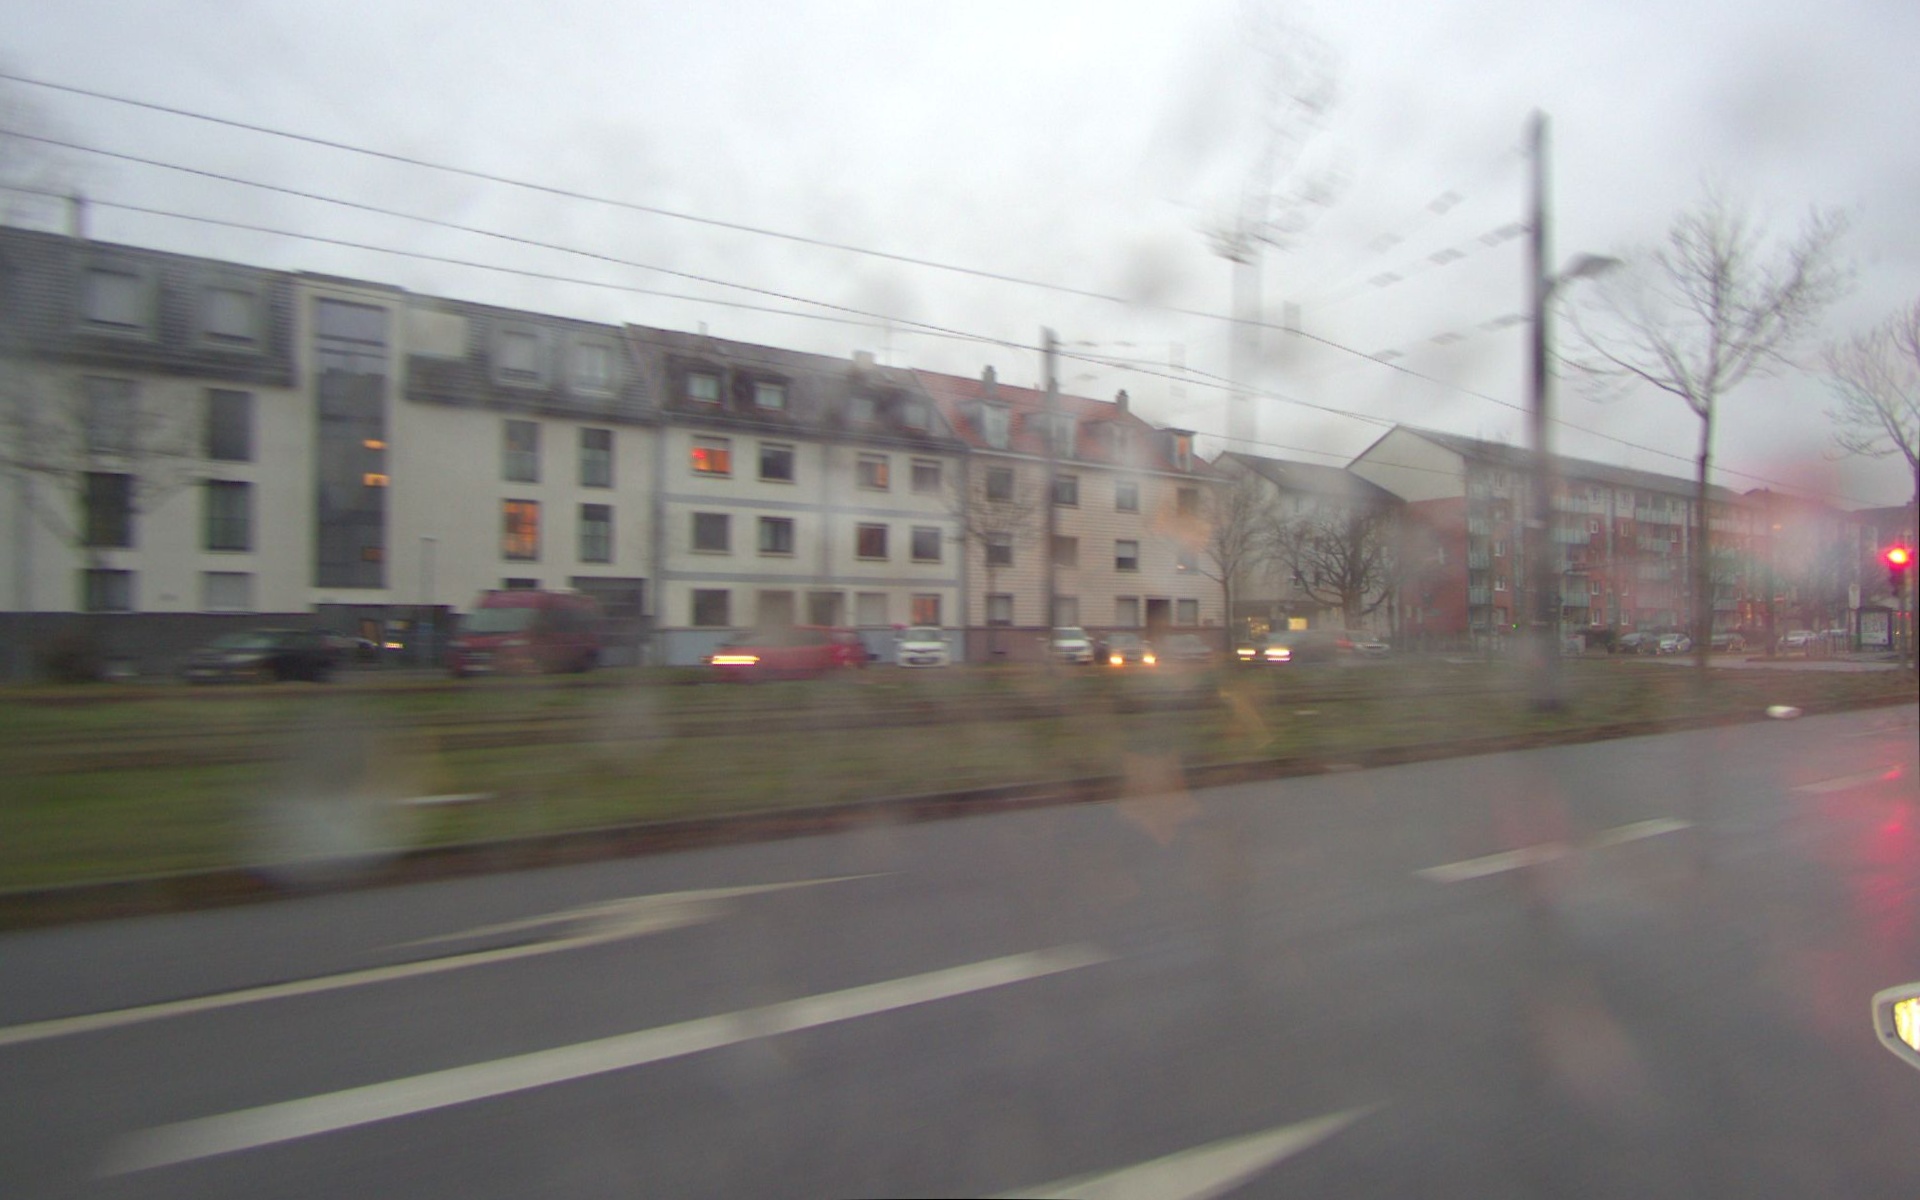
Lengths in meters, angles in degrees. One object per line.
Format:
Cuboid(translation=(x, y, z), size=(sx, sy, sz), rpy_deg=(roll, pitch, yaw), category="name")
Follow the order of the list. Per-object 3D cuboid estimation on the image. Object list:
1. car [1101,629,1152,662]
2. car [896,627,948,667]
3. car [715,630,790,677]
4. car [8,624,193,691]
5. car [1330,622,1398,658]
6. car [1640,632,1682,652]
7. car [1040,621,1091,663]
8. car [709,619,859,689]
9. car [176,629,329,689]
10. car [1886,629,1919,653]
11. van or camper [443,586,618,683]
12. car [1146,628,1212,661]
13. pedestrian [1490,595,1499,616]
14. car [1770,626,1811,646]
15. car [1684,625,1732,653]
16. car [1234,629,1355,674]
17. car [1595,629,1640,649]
Cuboid(translation=(6.616, 1.802, 40.148), size=(1.370, 1.163, 3.044), rpy_deg=(1, 0, -2), category="car")
Cuboid(translation=(-1.296, 1.590, 34.604), size=(1.658, 1.163, 3.418), rpy_deg=(1, 0, -2), category="car")
Cuboid(translation=(-6.465, 1.640, 31.621), size=(1.713, 1.228, 3.539), rpy_deg=(1, 0, -2), category="car")
Cuboid(translation=(-19.715, 1.277, 23.189), size=(1.360, 1.320, 3.099), rpy_deg=(1, 0, 8), category="car")
Cuboid(translation=(19.650, 1.909, 49.030), size=(1.708, 1.576, 3.798), rpy_deg=(1, 0, -1), category="car")
Cuboid(translation=(50.840, 3.029, 72.824), size=(3.352, 1.304, 1.435), rpy_deg=(1, 0, -35), category="car")
Cuboid(translation=(3.987, 1.572, 38.513), size=(1.737, 1.397, 4.125), rpy_deg=(1, 0, 3), category="car")
Cuboid(translation=(-4.518, 1.346, 25.910), size=(3.472, 1.645, 1.604), rpy_deg=(1, 0, -34), category="car")
Cuboid(translation=(-16.747, 1.352, 23.912), size=(1.360, 1.220, 2.890), rpy_deg=(1, 0, 8), category="car")
Cuboid(translation=(59.656, 2.563, 63.114), size=(3.600, 1.360, 1.435), rpy_deg=(1, 0, -35), category="car")
Cuboid(translation=(-11.920, 0.856, 28.577), size=(1.960, 2.391, 6.881), rpy_deg=(1, 0, 0), category="van or camper")
Cuboid(translation=(9.059, 1.817, 41.886), size=(1.649, 1.131, 4.188), rpy_deg=(1, 0, -2), category="car")
Cuboid(translation=(31.551, 0.312, 59.315), size=(0.339, 1.200, 0.434), rpy_deg=(1, 0, 16), category="pedestrian")
Cuboid(translation=(71.601, 3.079, 86.615), size=(3.692, 1.618, 1.918), rpy_deg=(1, 0, -37), category="car")
Cuboid(translation=(58.053, 2.982, 77.938), size=(3.964, 2.040, 1.979), rpy_deg=(1, 0, -38), category="car")
Cuboid(translation=(12.658, 1.903, 37.919), size=(4.742, 1.522, 1.868), rpy_deg=(1, 0, -35), category="car")
Cuboid(translation=(45.402, 2.687, 69.375), size=(3.352, 1.304, 1.435), rpy_deg=(1, 0, -35), category="car")
